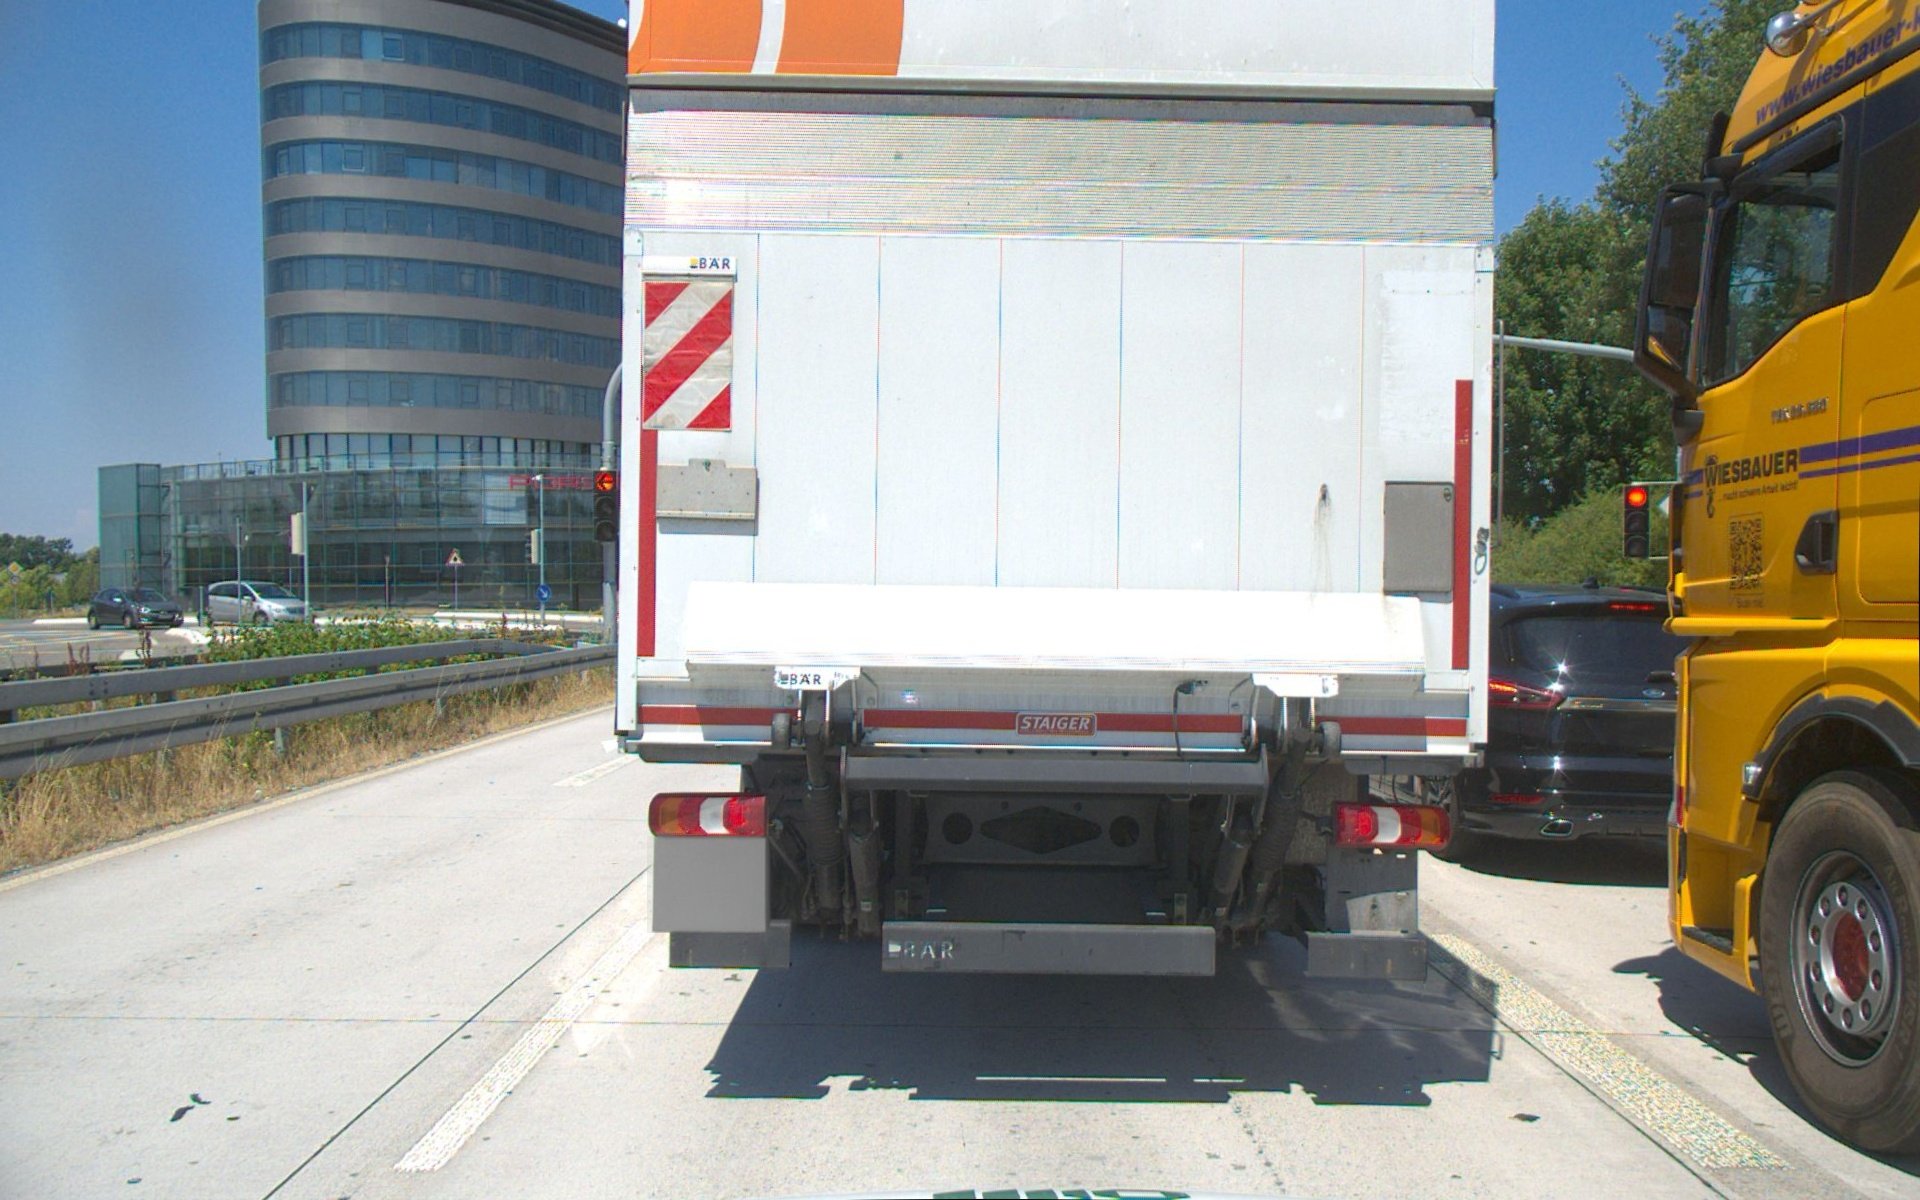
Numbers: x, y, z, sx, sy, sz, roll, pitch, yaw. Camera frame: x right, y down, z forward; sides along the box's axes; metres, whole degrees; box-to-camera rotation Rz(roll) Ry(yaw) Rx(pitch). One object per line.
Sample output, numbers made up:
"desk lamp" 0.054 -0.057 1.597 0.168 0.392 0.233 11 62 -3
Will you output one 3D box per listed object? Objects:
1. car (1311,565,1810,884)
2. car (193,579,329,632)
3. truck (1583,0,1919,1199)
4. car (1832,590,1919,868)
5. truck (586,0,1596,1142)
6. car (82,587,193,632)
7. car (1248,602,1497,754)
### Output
"car" 3.694 0.671 11.145 1.747 1.668 4.648 1 0 1
"car" -22.658 0.204 53.591 4.231 1.623 1.775 -1 -2 27
"truck" 3.947 -0.408 2.483 2.953 3.838 7.466 1 0 -2
"car" 7.327 0.863 9.601 1.733 1.839 4.788 1 0 -4
"truck" 0.311 -0.483 9.198 2.713 3.927 9.368 1 0 -1
"car" -28.816 0.359 57.894 4.241 1.482 1.691 -2 -2 35
"car" 4.399 0.767 18.325 1.731 1.435 4.611 1 0 2
